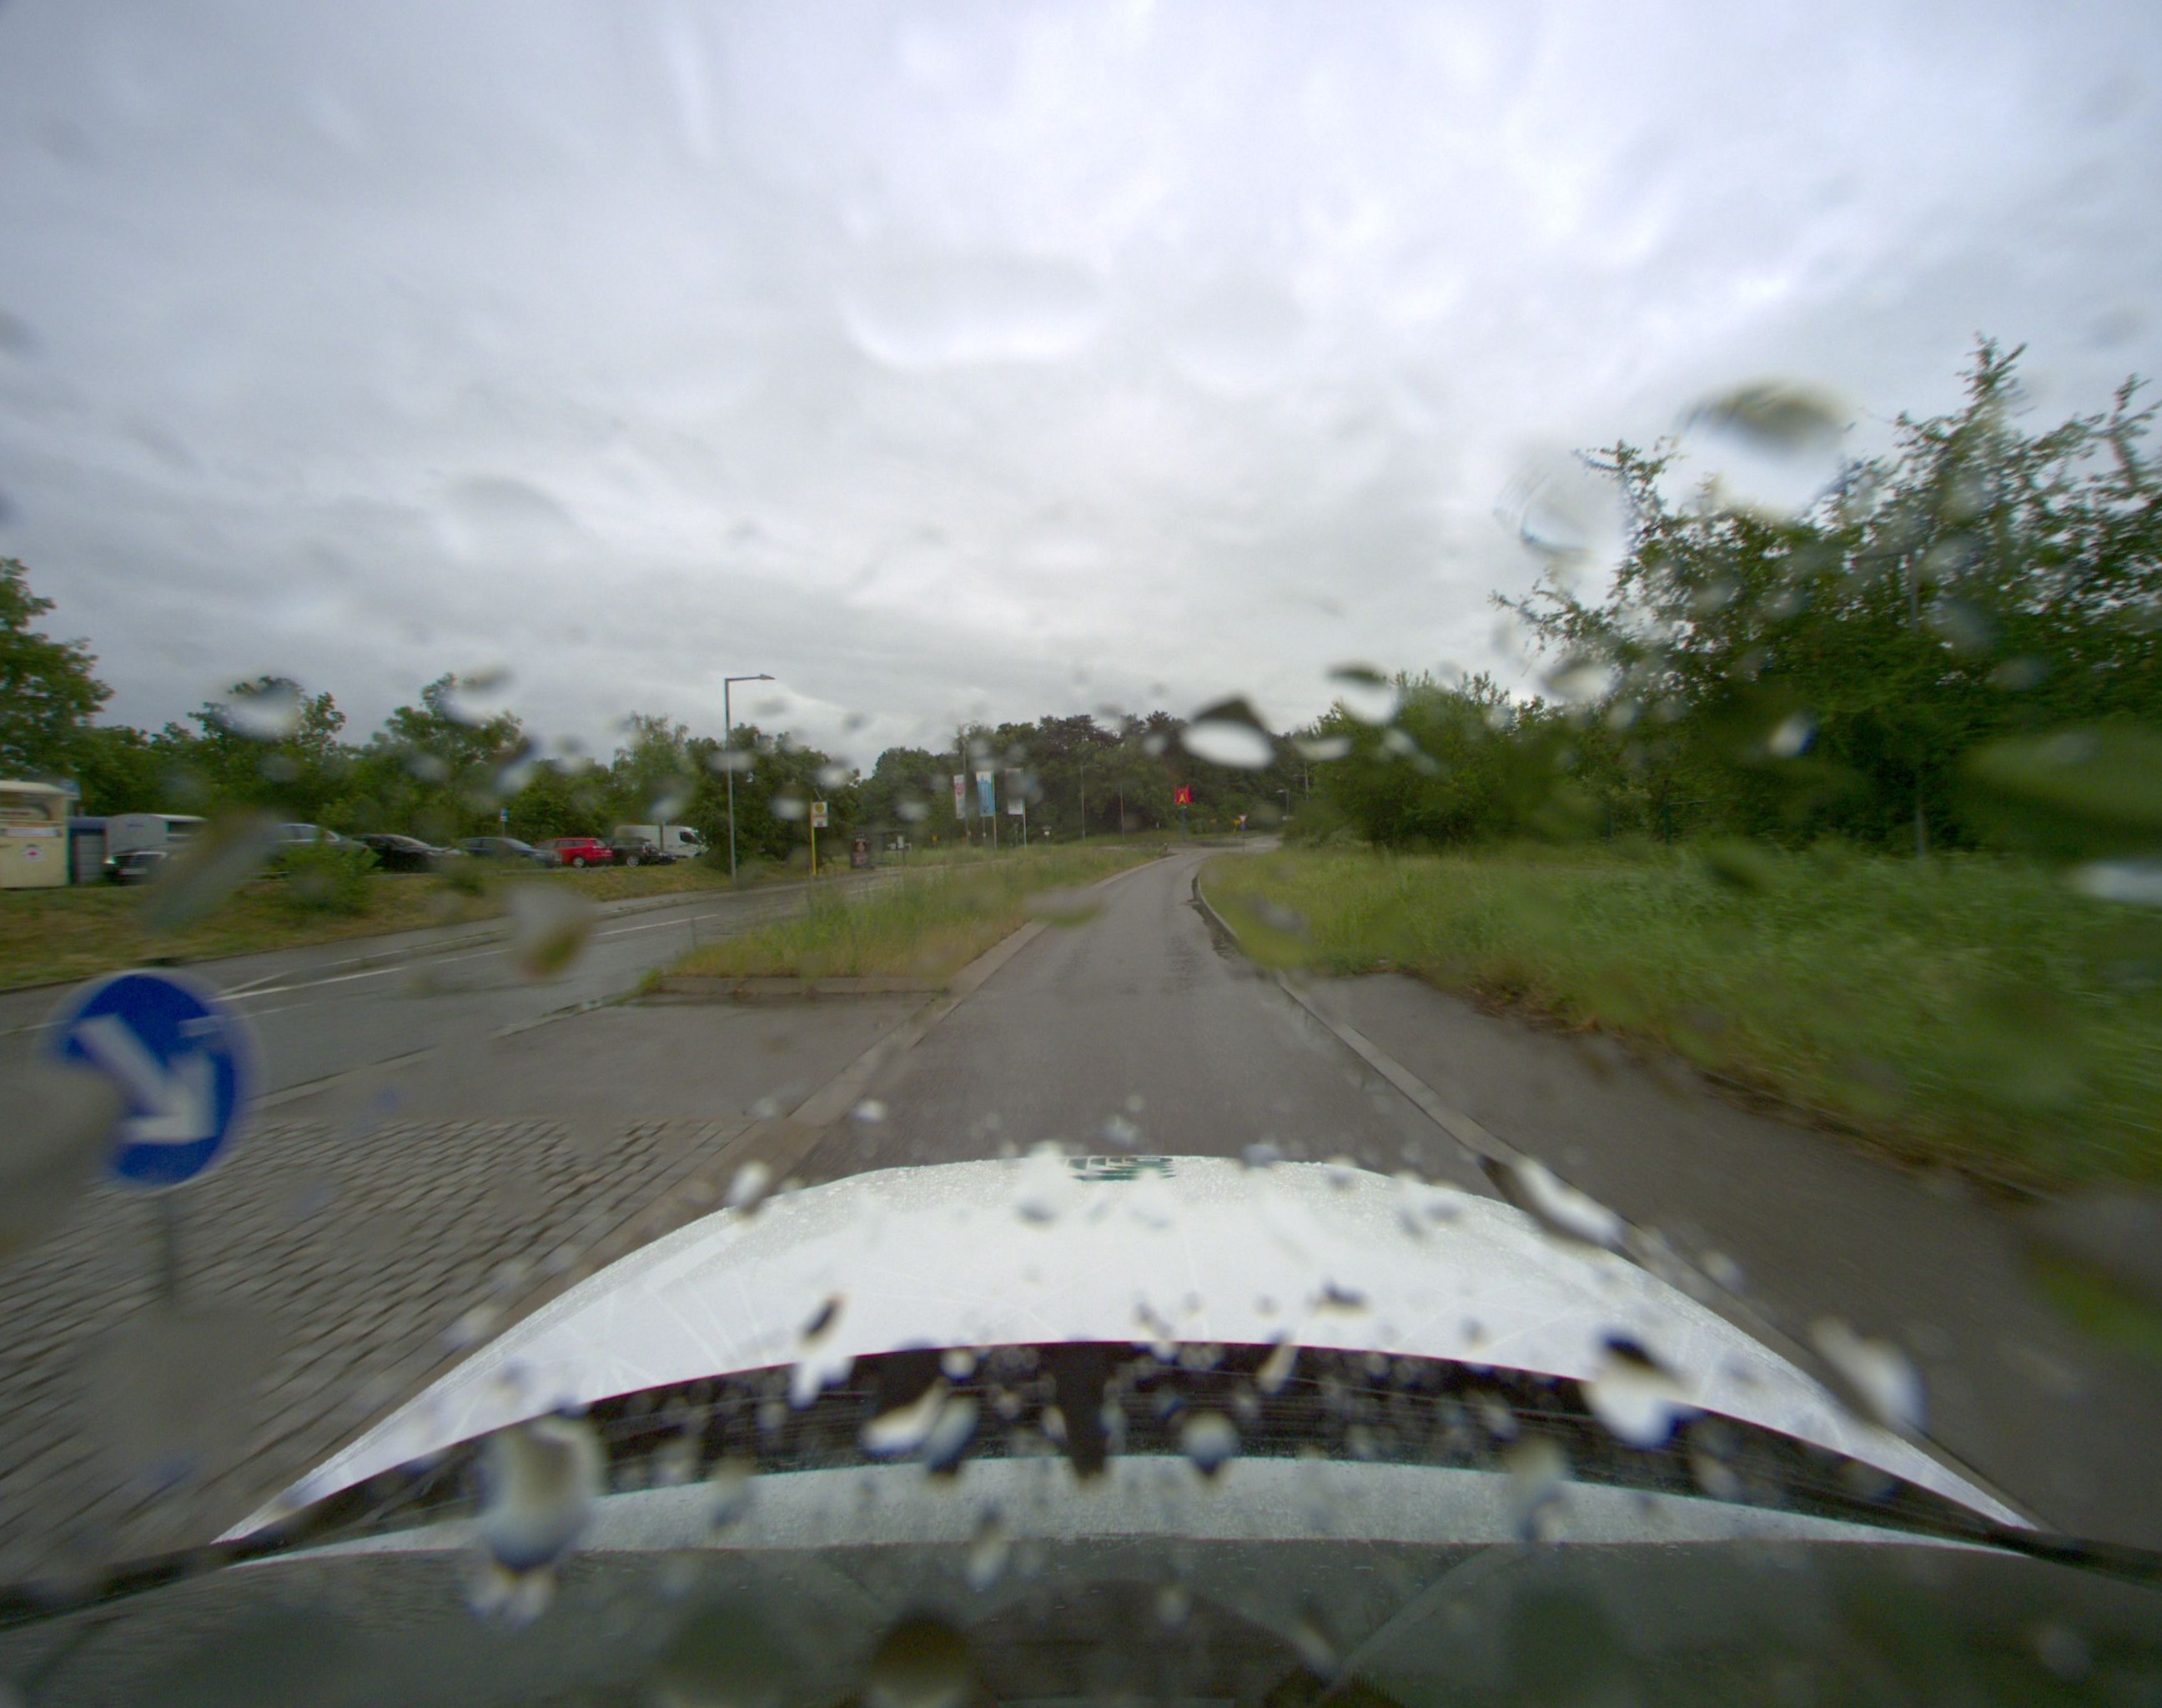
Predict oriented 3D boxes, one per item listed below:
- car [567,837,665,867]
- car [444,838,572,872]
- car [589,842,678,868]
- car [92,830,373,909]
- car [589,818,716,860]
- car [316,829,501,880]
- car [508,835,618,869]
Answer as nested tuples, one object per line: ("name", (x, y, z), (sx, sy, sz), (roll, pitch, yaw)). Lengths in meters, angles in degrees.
("car", (-24.080, -0.125, 42.253), (3.971, 1.364, 1.849), (-2, 1, 2))
("car", (-23.745, 0.018, 33.840), (3.971, 1.364, 1.901), (1, 1, 2))
("car", (-24.430, 0.044, 44.550), (3.971, 1.364, 1.654), (0, 1, 2))
("car", (-19.076, 0.247, 18.688), (1.686, 1.568, 4.542), (1, 2, 0))
("car", (-26.171, -0.899, 49.963), (6.541, 2.397, 2.136), (-1, -1, -4))
("car", (-23.190, 0.017, 28.223), (4.691, 1.693, 2.005), (0, 1, 0))
("car", (-24.769, -0.095, 39.043), (3.973, 1.469, 1.848), (-2, 1, 0))
